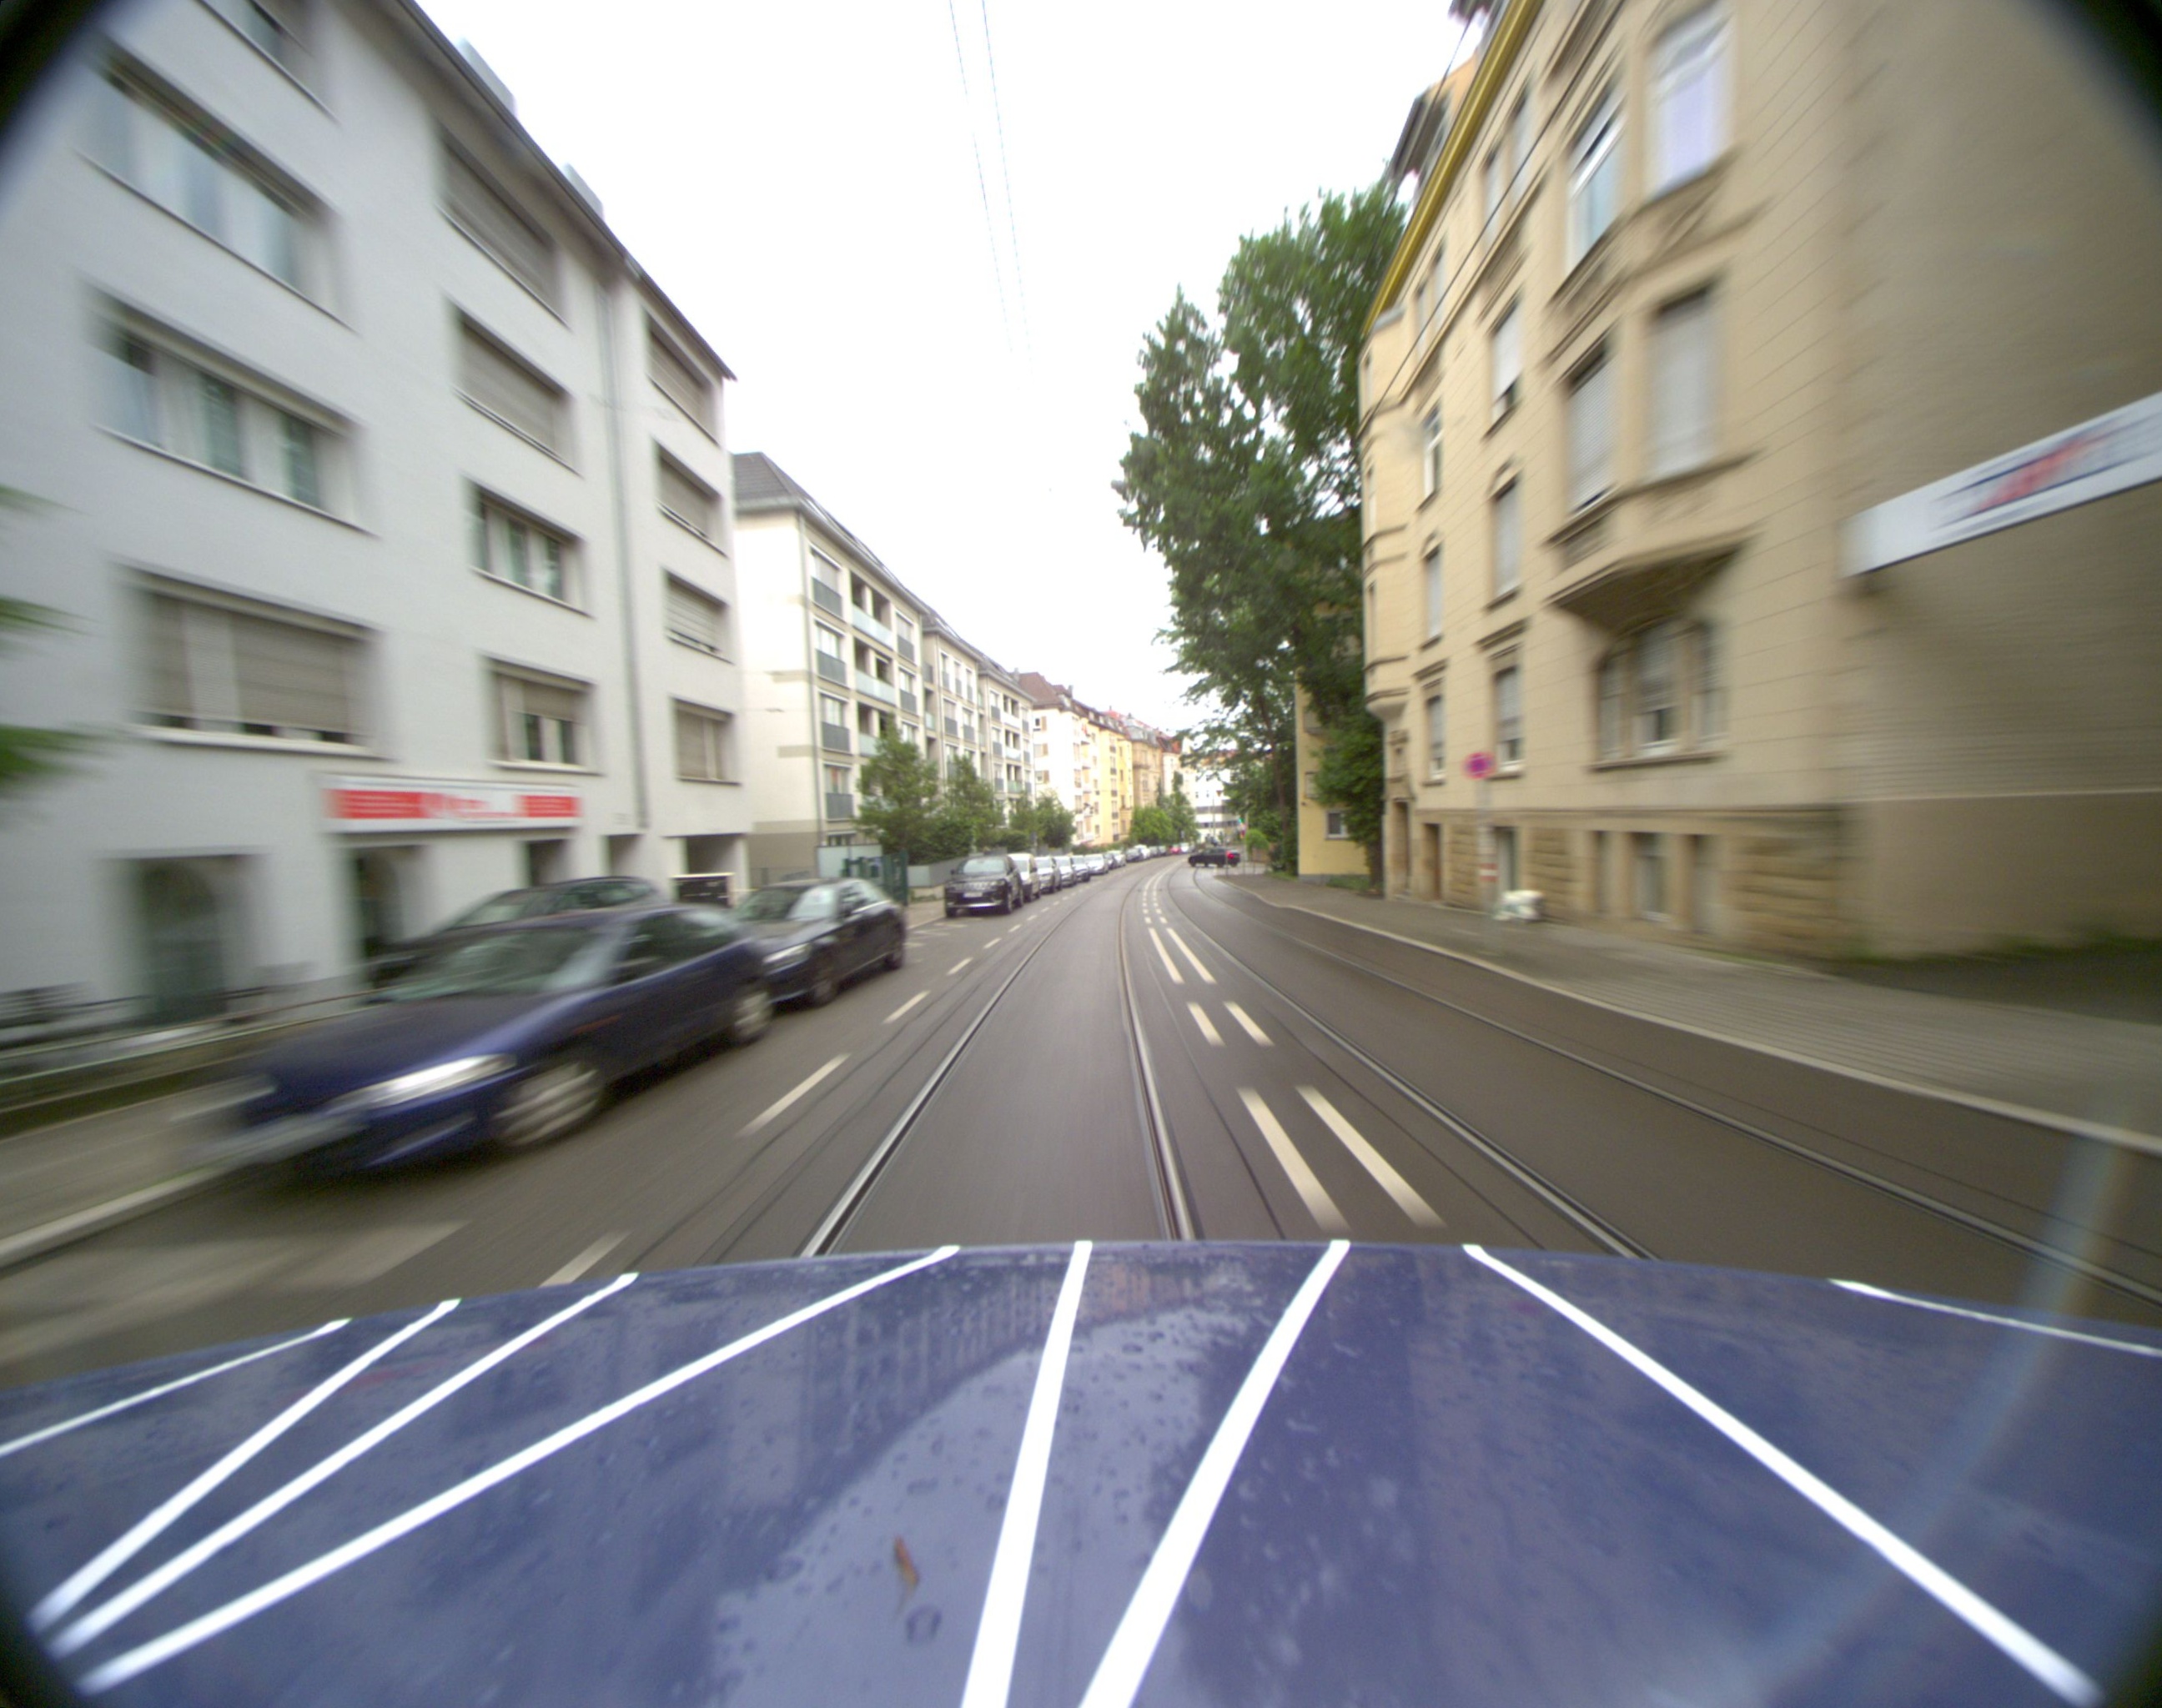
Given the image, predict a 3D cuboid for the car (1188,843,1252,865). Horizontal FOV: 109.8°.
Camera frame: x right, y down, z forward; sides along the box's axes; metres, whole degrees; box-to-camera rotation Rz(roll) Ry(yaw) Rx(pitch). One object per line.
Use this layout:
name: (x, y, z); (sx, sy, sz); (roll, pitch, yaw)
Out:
car: (11.364, -0.031, 62.303); (4.757, 1.668, 2.075); (1, 3, 42)

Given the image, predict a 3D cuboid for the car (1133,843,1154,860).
car: (6.895, -0.314, 83.644); (1.797, 1.613, 3.870); (-3, 1, 12)

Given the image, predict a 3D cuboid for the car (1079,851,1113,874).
car: (1.165, 0.577, 56.251); (1.861, 1.507, 4.791); (-3, 1, 8)

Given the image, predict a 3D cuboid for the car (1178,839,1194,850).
car: (15.717, -1.381, 113.169); (1.612, 1.434, 3.692); (-3, 1, 19)

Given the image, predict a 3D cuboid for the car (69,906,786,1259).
car: (-3.895, 1.240, 5.572); (1.682, 1.330, 3.883); (-3, 0, 3)

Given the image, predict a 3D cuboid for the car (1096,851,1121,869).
car: (2.331, 0.482, 63.447); (1.599, 1.416, 3.517); (-3, 1, 10)

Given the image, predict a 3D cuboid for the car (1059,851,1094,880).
car: (-0.228, 0.672, 46.525); (1.980, 1.575, 4.566); (-3, 1, 1)

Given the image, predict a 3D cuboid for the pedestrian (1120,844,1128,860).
pedestrian: (4.623, -0.238, 81.755); (0.716, 1.704, 0.665); (1, 2, 16)

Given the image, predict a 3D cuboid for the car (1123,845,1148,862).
car: (5.644, -0.057, 78.528); (1.797, 1.444, 4.106); (-3, 1, 15)

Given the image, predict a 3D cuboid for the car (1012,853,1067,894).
car: (-1.834, 0.855, 35.405); (1.836, 1.647, 4.688); (-3, 1, 5)

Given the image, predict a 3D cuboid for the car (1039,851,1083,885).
car: (-1.030, 0.692, 40.842); (1.836, 1.618, 4.664); (-3, 1, 4)

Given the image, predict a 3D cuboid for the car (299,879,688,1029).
car: (-7.811, 1.223, 10.742); (1.816, 1.418, 4.155); (-5, 0, 8)

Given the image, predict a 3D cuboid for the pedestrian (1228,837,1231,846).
pedestrian: (30.080, -2.505, 153.742); (0.649, 1.652, 0.650); (-1, 1, 10)

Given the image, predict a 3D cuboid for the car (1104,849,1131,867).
car: (3.307, 0.348, 68.312); (1.721, 1.458, 4.393); (-3, 1, 12)

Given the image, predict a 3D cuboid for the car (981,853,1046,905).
car: (-2.505, 0.891, 29.359); (1.782, 1.785, 4.472); (-3, 0, 4)

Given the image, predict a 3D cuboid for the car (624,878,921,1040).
car: (-3.694, 1.168, 10.192); (1.798, 1.429, 4.611); (-3, 0, 3)

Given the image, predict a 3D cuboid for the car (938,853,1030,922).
car: (-2.907, 0.944, 23.835); (1.947, 1.785, 4.821); (-3, 1, 3)

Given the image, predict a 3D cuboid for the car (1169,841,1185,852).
car: (13.202, -1.028, 104.641); (1.555, 1.360, 3.127); (-3, 1, 19)

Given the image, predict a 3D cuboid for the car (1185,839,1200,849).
car: (17.338, -1.593, 118.000); (1.612, 1.434, 3.692); (-3, 1, 19)

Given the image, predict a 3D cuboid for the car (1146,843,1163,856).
car: (8.963, -0.534, 92.517); (1.589, 1.434, 3.478); (-3, 1, 12)

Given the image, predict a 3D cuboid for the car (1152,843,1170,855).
car: (10.286, -0.688, 97.447); (1.657, 1.360, 3.638); (-3, 1, 14)
